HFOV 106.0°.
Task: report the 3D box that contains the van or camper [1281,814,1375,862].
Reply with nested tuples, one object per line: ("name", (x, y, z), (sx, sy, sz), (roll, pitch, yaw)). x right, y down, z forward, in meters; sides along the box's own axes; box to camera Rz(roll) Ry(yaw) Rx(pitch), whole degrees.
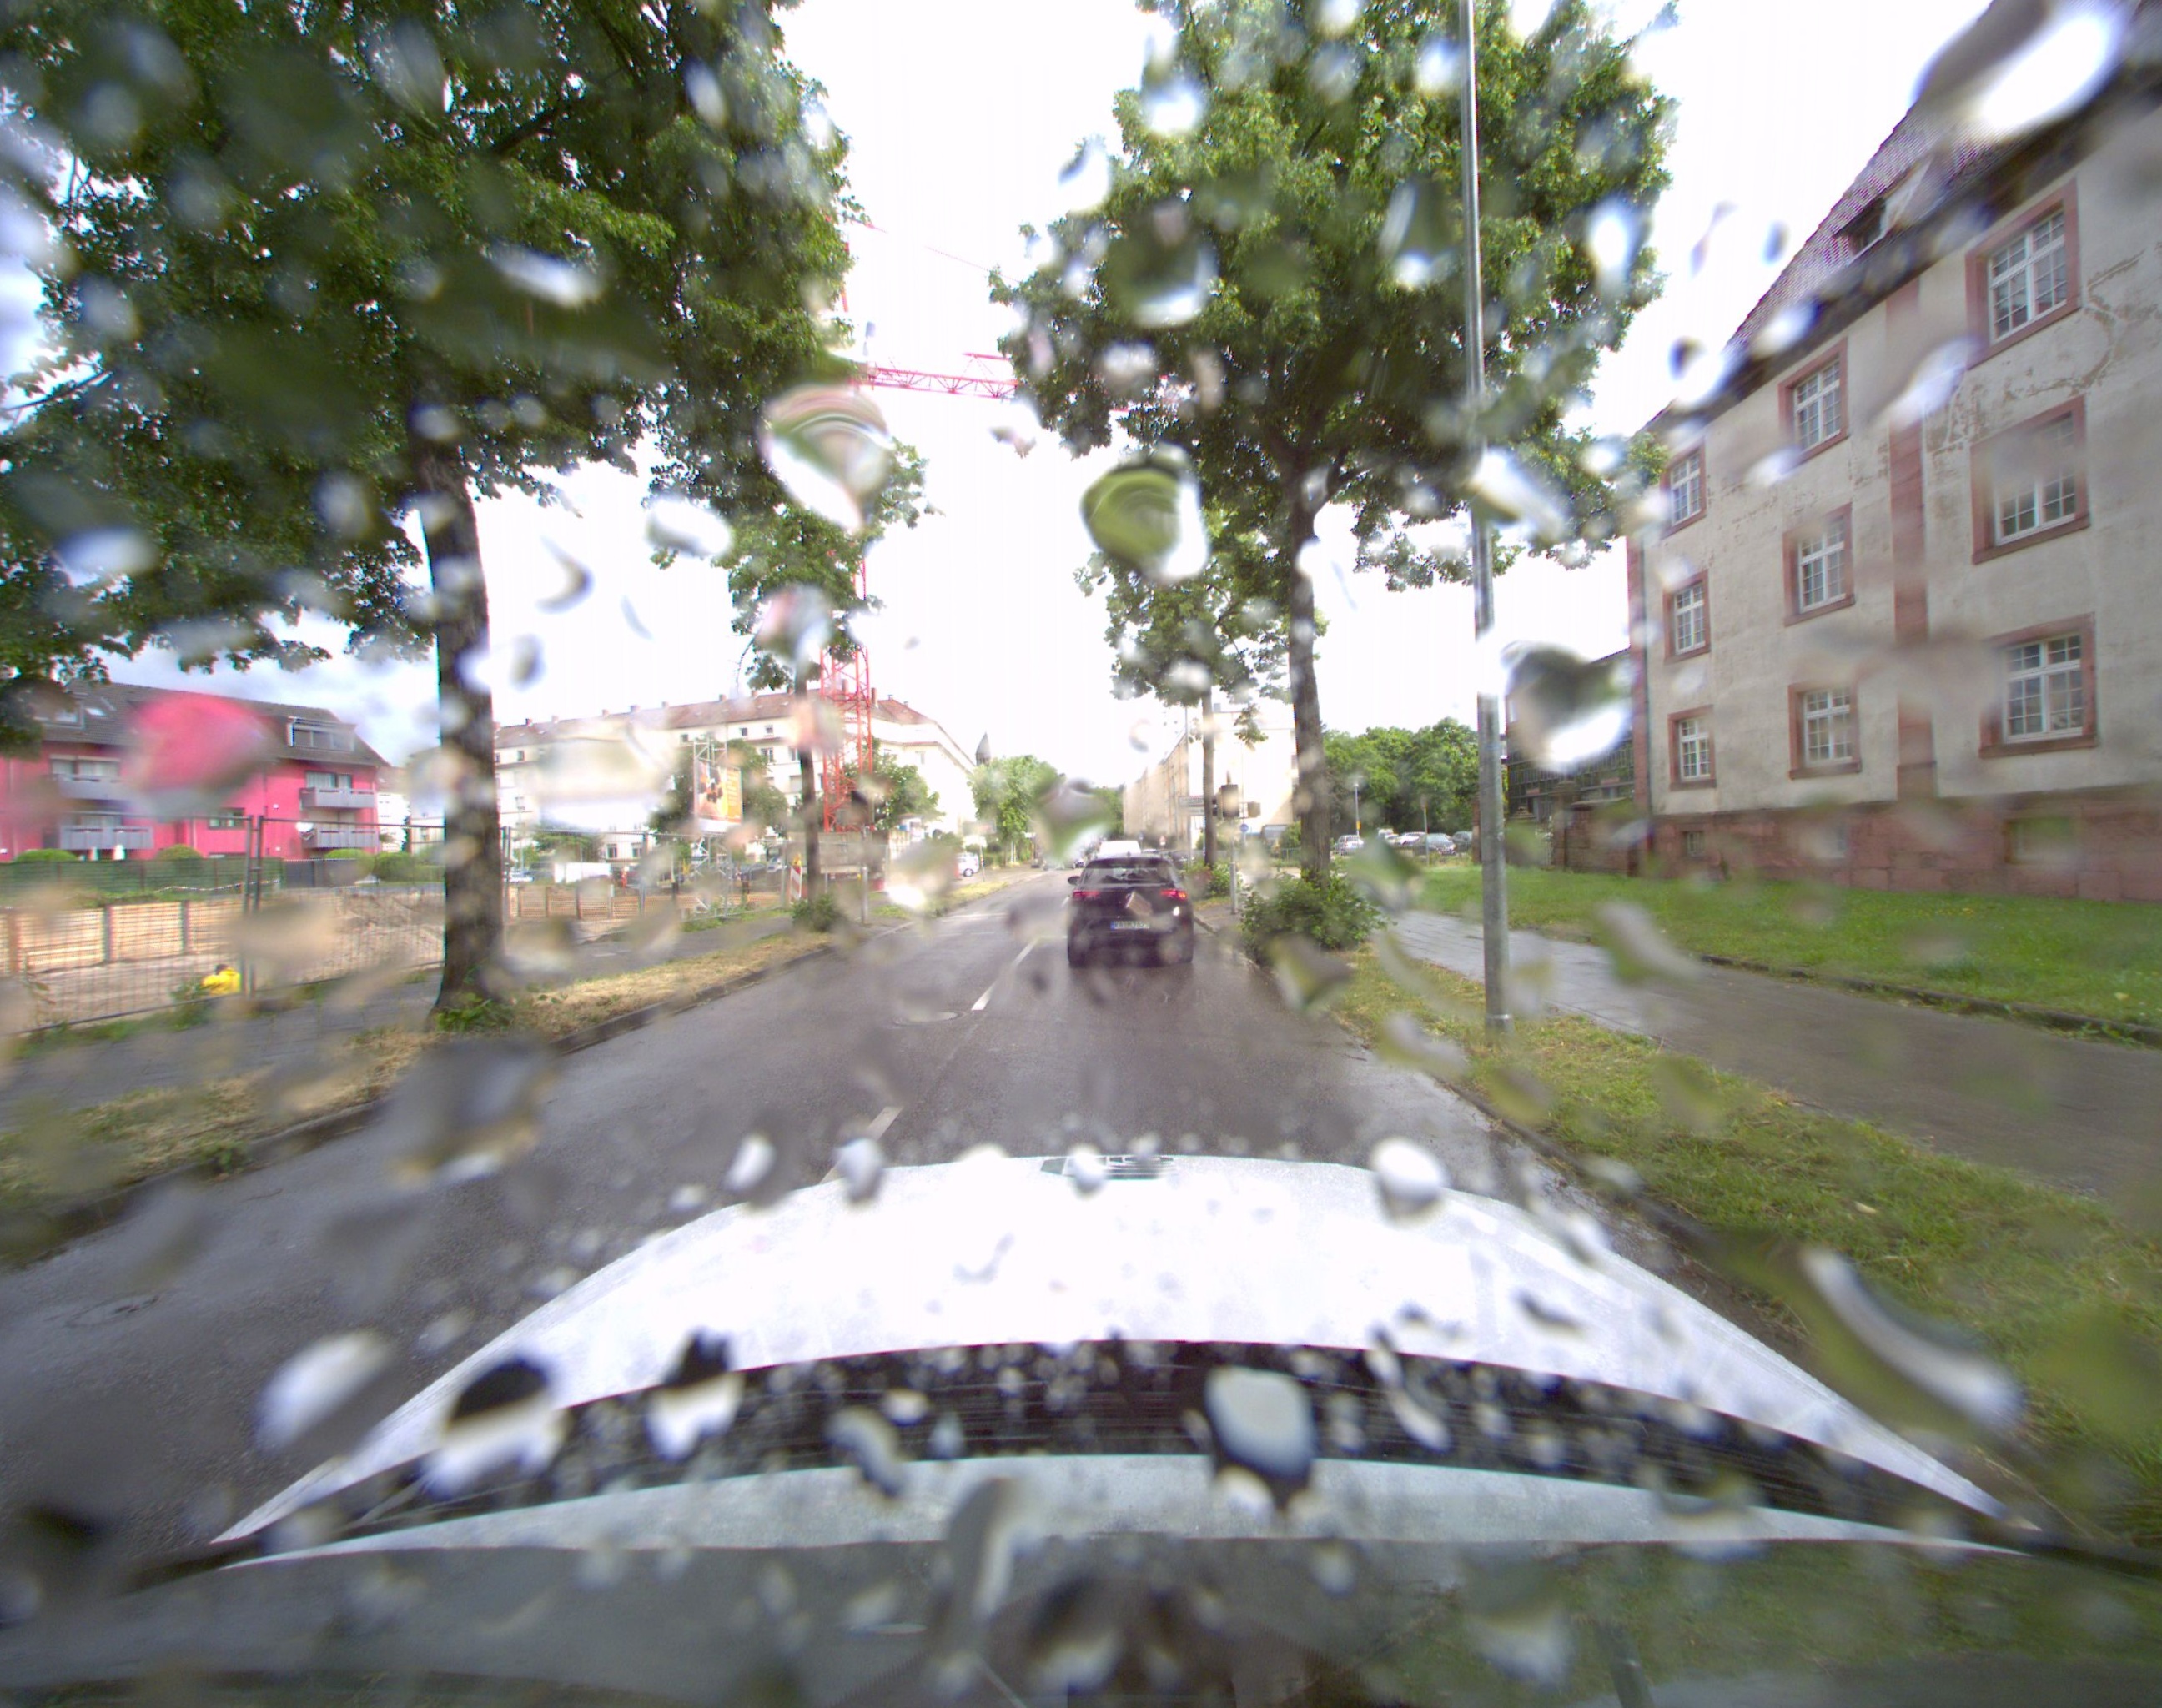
("van or camper", (14.988, -0.947, 49.602), (5.016, 2.595, 2.168), (-3, 0, 0))

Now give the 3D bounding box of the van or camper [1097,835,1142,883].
("van or camper", (1.712, 0.188, 35.615), (1.812, 1.947, 4.199), (-1, 0, 3))

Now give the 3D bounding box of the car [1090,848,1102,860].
("car", (2.114, 0.013, 115.579), (1.585, 1.512, 3.732), (-5, 0, 1))

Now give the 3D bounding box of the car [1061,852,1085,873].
("car", (-0.676, 0.738, 73.276), (1.782, 1.683, 4.139), (-5, 0, 3))

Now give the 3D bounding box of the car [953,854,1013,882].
("car", (-7.208, 1.028, 59.886), (3.937, 1.651, 1.748), (-5, 0, -20))

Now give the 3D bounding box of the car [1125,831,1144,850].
("car", (6.294, -1.577, 95.631), (1.986, 2.013, 4.002), (-2, 0, 2))

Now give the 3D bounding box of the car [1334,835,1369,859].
("car", (20.910, -0.544, 63.079), (1.733, 1.684, 3.879), (-5, 0, 8))

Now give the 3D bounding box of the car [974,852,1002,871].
("car", (-8.399, 0.671, 73.866), (1.582, 1.512, 3.740), (-5, 0, 8))

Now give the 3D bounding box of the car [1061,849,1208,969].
("car", (0.795, 0.715, 12.731), (1.887, 1.522, 4.003), (-2, 0, 2))

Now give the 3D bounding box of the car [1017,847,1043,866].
("car", (-4.738, 0.207, 76.283), (1.582, 1.512, 3.740), (-5, 0, 8))

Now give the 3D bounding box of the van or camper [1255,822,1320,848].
("van or camper", (17.022, -1.580, 67.300), (4.856, 1.925, 2.132), (-2, 1, 2))

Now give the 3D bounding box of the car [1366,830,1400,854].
("car", (29.064, -1.152, 78.494), (1.984, 2.013, 4.007), (-5, 0, 6))

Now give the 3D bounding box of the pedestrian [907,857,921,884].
("pedestrian", (-9.408, 0.903, 45.845), (0.663, 1.485, 0.668), (-2, 1, -23))

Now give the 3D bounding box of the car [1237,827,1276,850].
("car", (16.639, -1.464, 77.268), (3.386, 1.781, 1.765), (-5, 0, 10))

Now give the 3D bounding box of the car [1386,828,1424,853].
("car", (29.055, -1.202, 73.090), (1.984, 2.013, 4.007), (-5, 0, 6))

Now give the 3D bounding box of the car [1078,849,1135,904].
("car", (0.974, 0.743, 29.008), (1.672, 1.708, 3.915), (-5, -1, 5))

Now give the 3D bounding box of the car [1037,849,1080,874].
("car", (-1.774, 0.585, 65.096), (1.774, 1.683, 4.509), (-5, 0, 20))
